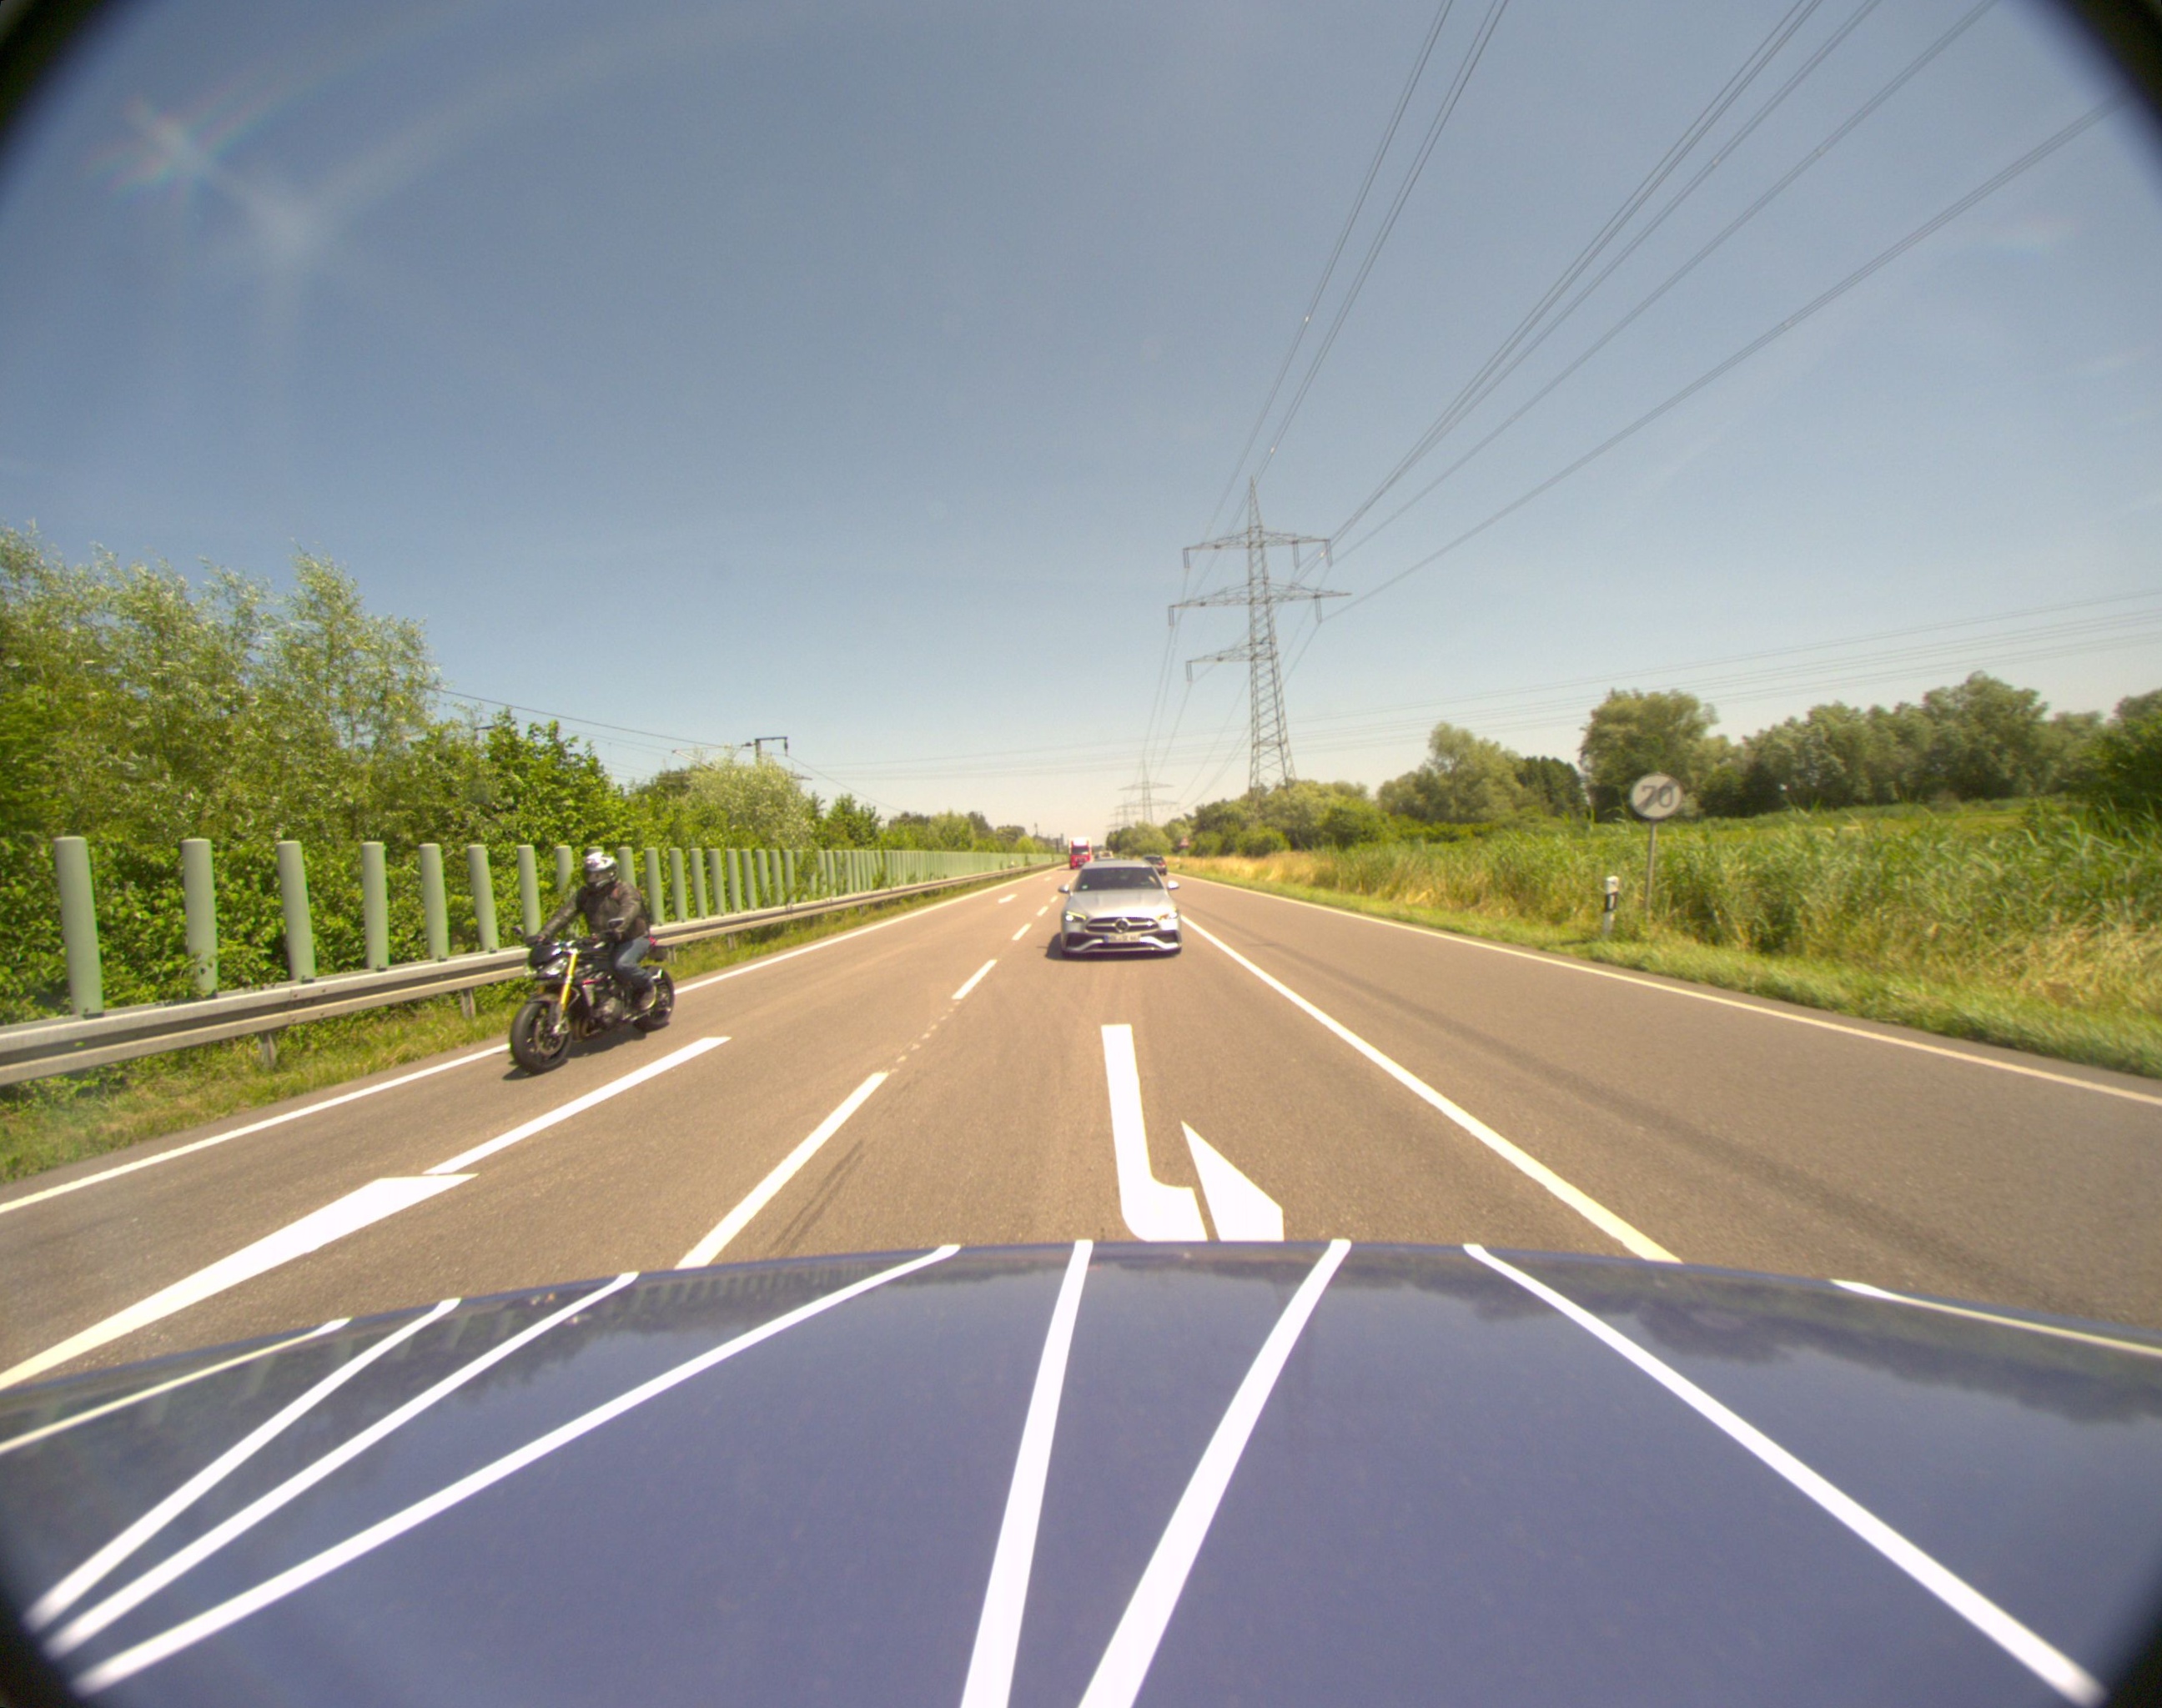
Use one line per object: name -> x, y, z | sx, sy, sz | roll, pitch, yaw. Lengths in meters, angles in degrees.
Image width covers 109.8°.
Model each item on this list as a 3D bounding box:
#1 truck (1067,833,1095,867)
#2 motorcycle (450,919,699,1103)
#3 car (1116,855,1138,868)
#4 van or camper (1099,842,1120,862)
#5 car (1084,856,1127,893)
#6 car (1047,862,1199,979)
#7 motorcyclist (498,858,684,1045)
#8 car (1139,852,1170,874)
truck -> 0.100, -0.503, 89.536 | 2.907, 3.641, 7.156 | -4, 0, 1
motorcycle -> -4.196, 1.234, 6.534 | 0.792, 1.151, 1.901 | -3, 0, 1
car -> 4.477, 0.734, 74.787 | 1.864, 1.221, 4.322 | -2, 0, 0
van or camper -> 4.372, -0.296, 115.974 | 2.578, 2.865, 6.744 | -2, 1, -2
car -> 1.089, 0.845, 33.016 | 1.697, 1.385, 4.468 | -2, 0, 2
car -> 0.629, 0.924, 12.482 | 1.998, 1.437, 4.467 | -2, 0, 2
motorcyclist -> -4.213, 0.790, 6.625 | 0.892, 1.468, 1.002 | -2, 1, 1
car -> 5.172, 0.627, 53.900 | 1.749, 1.425, 4.322 | -2, 0, 0
